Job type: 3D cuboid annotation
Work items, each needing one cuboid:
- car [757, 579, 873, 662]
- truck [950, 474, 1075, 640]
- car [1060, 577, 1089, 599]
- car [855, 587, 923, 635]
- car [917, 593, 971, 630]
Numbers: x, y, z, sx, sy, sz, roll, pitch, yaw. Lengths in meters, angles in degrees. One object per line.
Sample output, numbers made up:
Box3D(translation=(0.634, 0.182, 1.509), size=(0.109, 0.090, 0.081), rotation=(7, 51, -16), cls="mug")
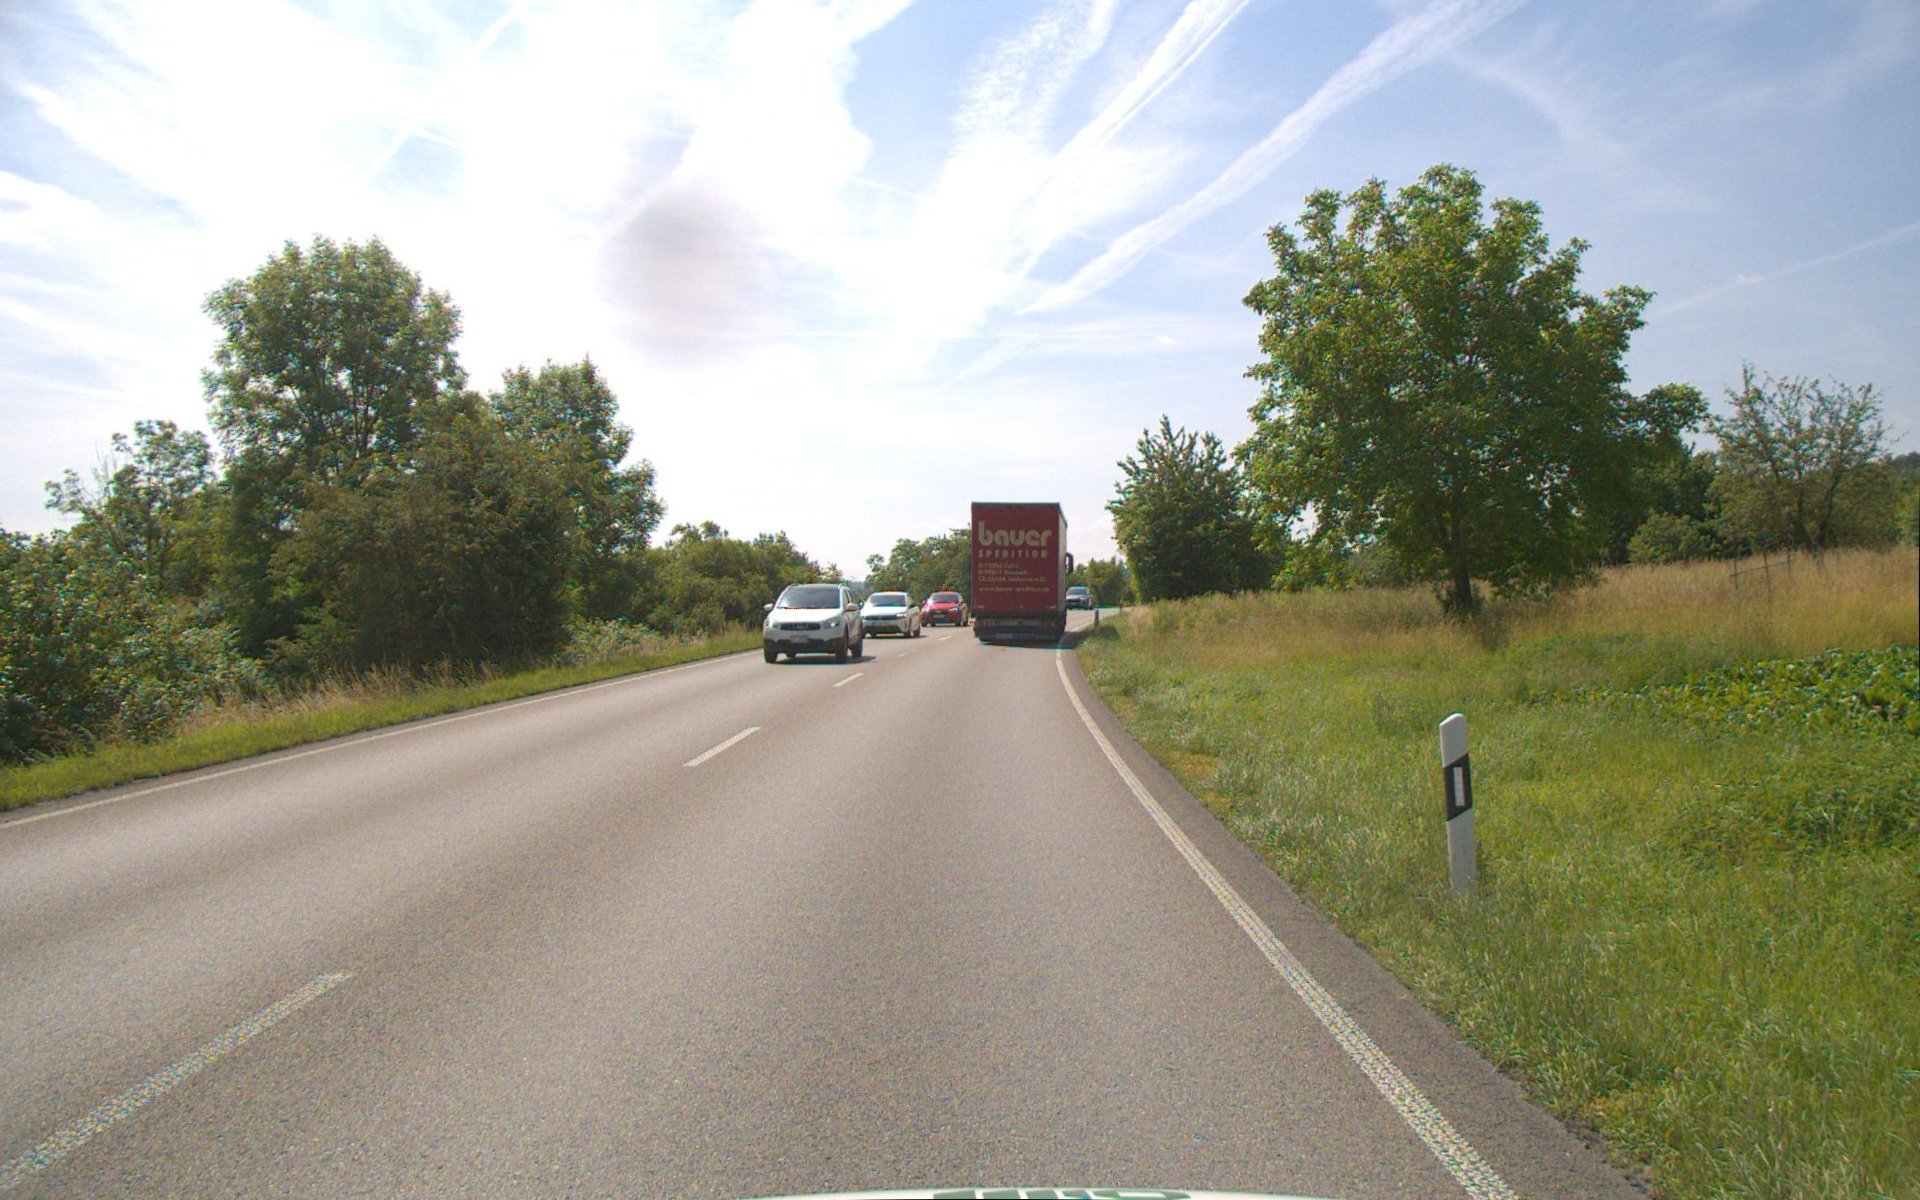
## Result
Box3D(translation=(-3.111, 0.406, 36.299), size=(1.794, 1.645, 4.365), rotation=(-1, 1, 5), cls="car")
Box3D(translation=(1.883, -1.148, 52.228), size=(3.046, 4.585, 12.175), rotation=(1, 0, 6), cls="truck")
Box3D(translation=(8.388, -0.904, 120.998), size=(1.951, 1.550, 4.003), rotation=(-1, 1, 6), cls="car")
Box3D(translation=(-2.271, 0.341, 53.681), size=(1.713, 1.438, 3.775), rotation=(-1, 1, 5), cls="car")
Box3D(translation=(-0.650, 0.485, 70.593), size=(1.782, 1.422, 4.185), rotation=(-2, 0, 5), cls="car")
